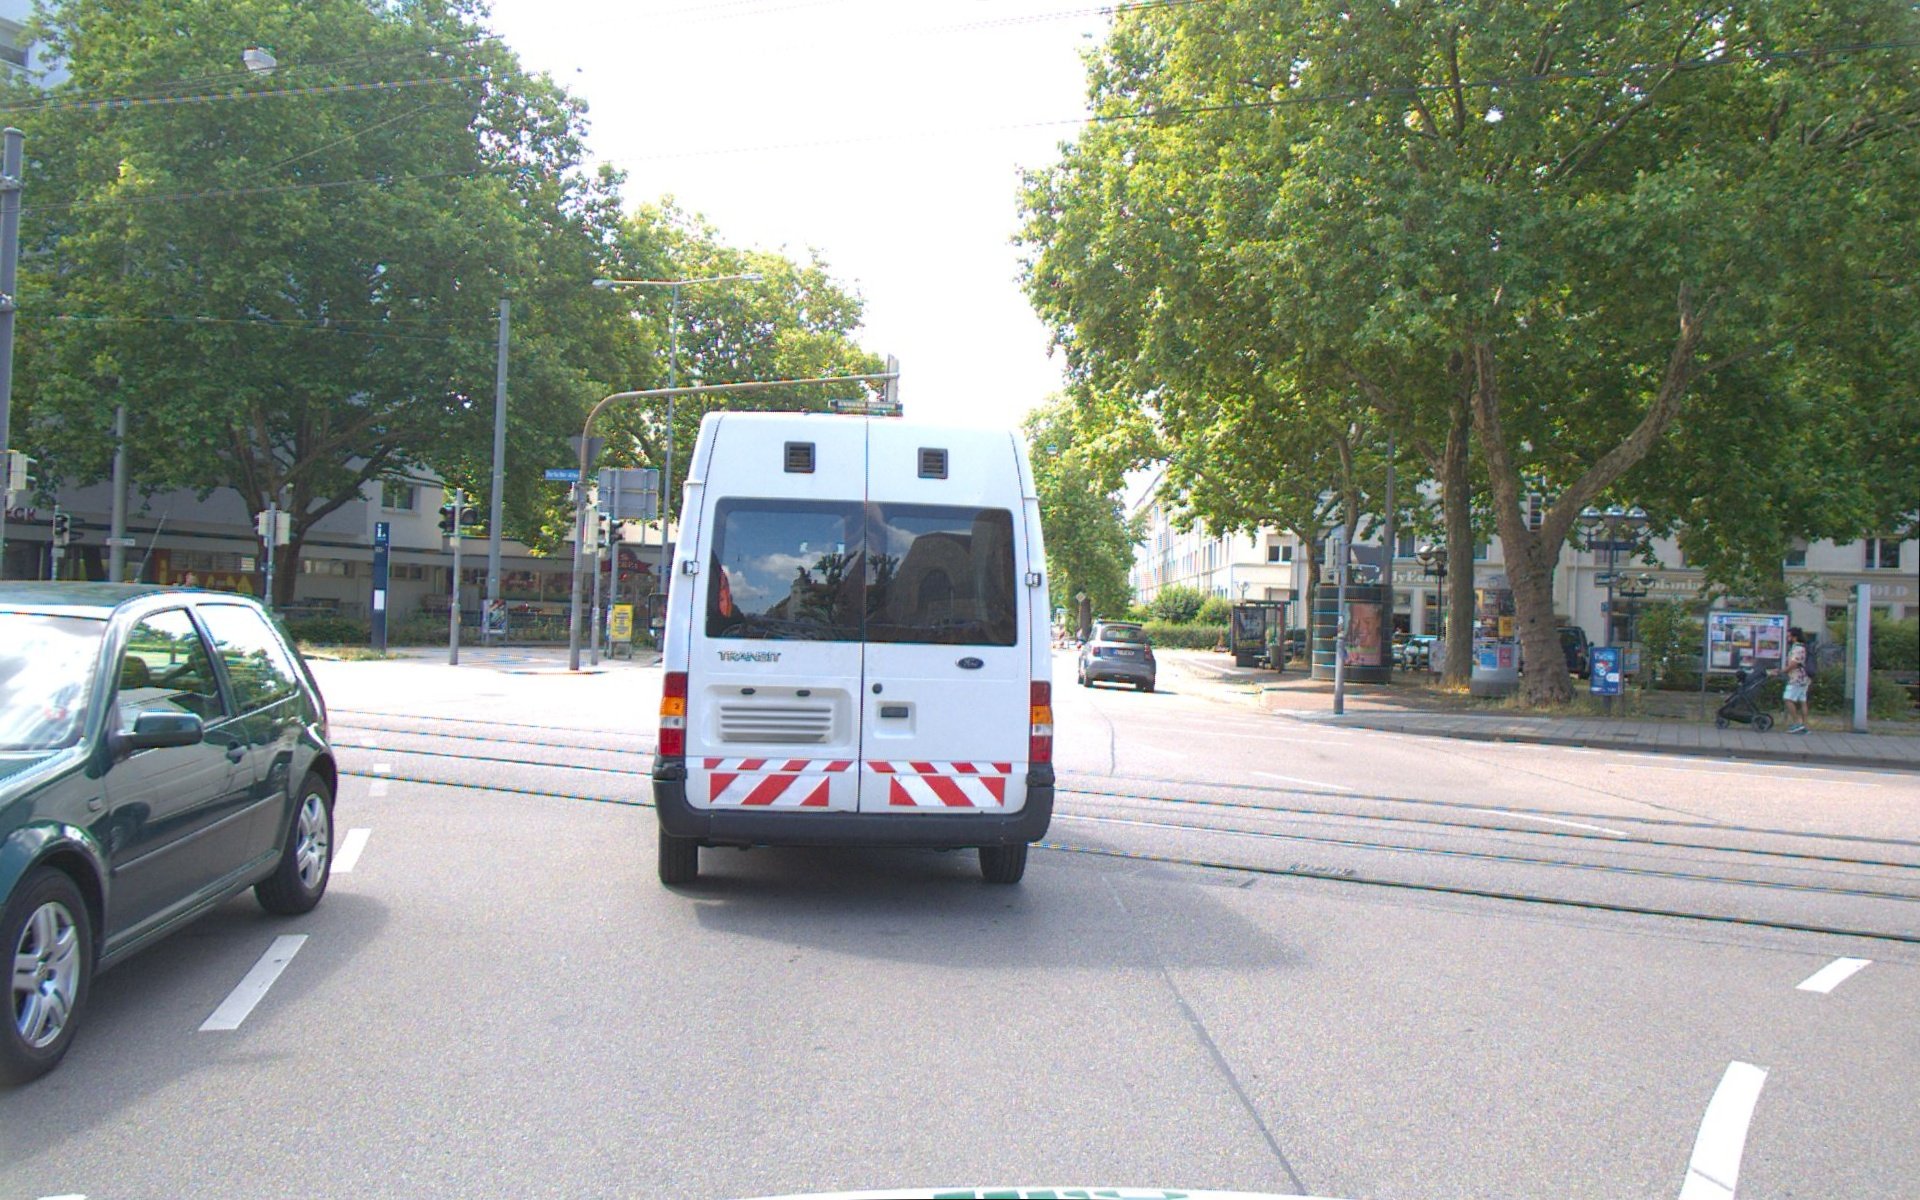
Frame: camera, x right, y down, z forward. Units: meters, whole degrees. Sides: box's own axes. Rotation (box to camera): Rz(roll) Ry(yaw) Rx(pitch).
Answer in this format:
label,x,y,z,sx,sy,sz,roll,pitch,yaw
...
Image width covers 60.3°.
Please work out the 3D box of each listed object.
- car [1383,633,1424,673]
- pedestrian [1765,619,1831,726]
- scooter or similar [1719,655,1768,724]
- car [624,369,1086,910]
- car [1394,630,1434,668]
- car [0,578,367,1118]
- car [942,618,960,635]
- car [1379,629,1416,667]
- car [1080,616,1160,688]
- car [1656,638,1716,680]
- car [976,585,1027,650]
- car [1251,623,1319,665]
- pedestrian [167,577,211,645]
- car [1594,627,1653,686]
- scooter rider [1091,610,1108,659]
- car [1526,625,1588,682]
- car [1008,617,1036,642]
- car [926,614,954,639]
label,x,y,z,sx,sy,sz,roll,pitch,yaw
car,16.915,2.002,63.092,1.434,1.413,3.069,2,-1,15
pedestrian,13.521,1.160,26.703,0.902,1.674,0.570,2,-1,25
scooter or similar,12.815,1.462,27.062,0.692,1.074,0.490,2,-1,25
car,-0.757,0.201,9.790,2.008,2.374,4.706,2,0,-8
car,18.300,1.972,66.614,1.434,1.413,3.237,2,-1,17
car,-3.520,0.655,5.850,1.679,1.458,3.815,0,0,-4
car,-0.920,2.821,175.401,1.665,1.690,3.750,2,0,3
car,20.712,2.246,78.218,1.435,1.695,3.067,2,-1,19
car,3.783,1.206,39.536,1.656,1.565,3.469,2,0,2
car,27.534,2.220,62.744,1.954,1.447,3.998,2,-1,24
car,1.836,0.740,72.585,2.076,2.687,6.329,2,0,2
car,13.633,1.843,69.261,1.986,1.628,4.538,2,-1,22
pedestrian,-18.781,0.263,40.269,0.766,1.626,0.535,2,-1,21
car,25.518,2.137,63.543,1.954,2.112,3.998,2,-1,24
scooter rider,5.348,1.311,63.297,0.515,1.843,0.649,2,-1,-1
car,23.446,2.084,64.858,1.954,2.112,3.998,2,-1,24
car,4.081,1.955,109.382,1.689,1.582,3.633,2,-1,1
car,-1.431,1.883,118.599,1.749,1.690,4.316,2,0,2
